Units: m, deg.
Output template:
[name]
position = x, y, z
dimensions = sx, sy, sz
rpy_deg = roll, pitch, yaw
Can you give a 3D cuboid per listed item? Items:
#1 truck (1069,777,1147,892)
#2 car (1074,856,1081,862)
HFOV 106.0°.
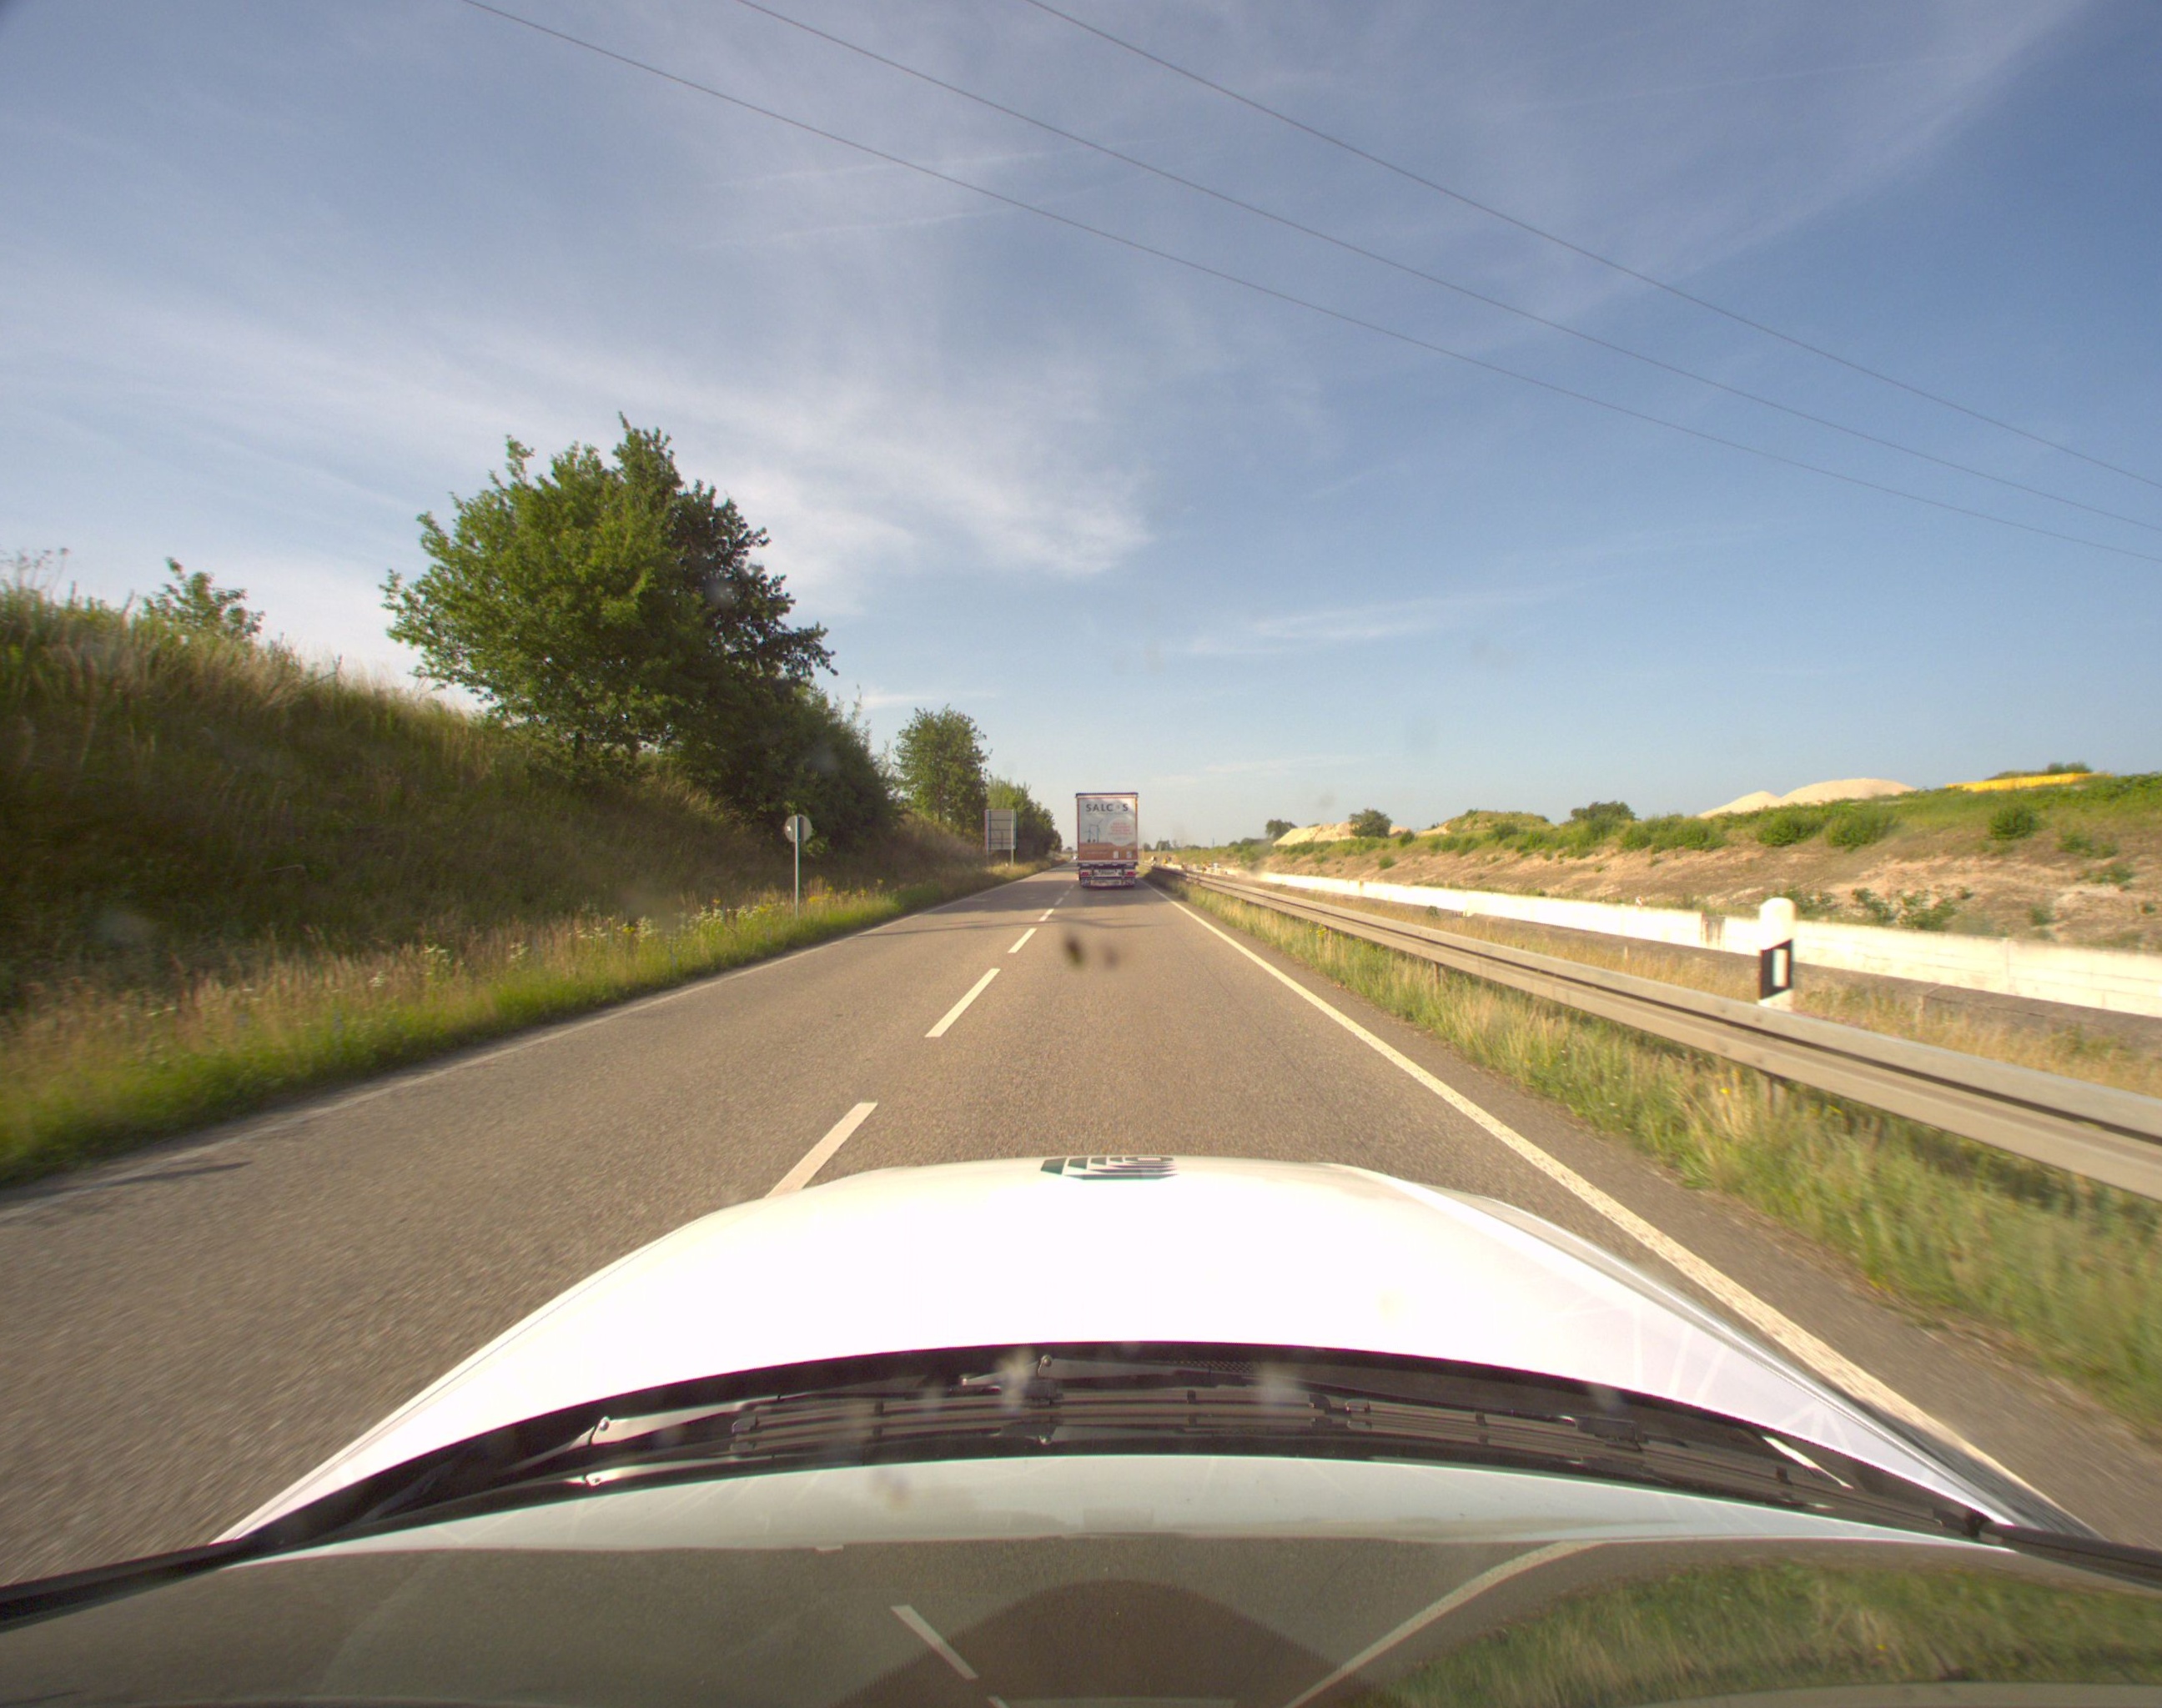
[truck]
position = 1.156, -0.814, 37.851
dimensions = 3.142, 4.688, 8.441
rpy_deg = -1, 0, 0
[car]
position = -0.924, 1.455, 229.728
dimensions = 1.738, 1.564, 4.367
rpy_deg = -1, 0, 2
